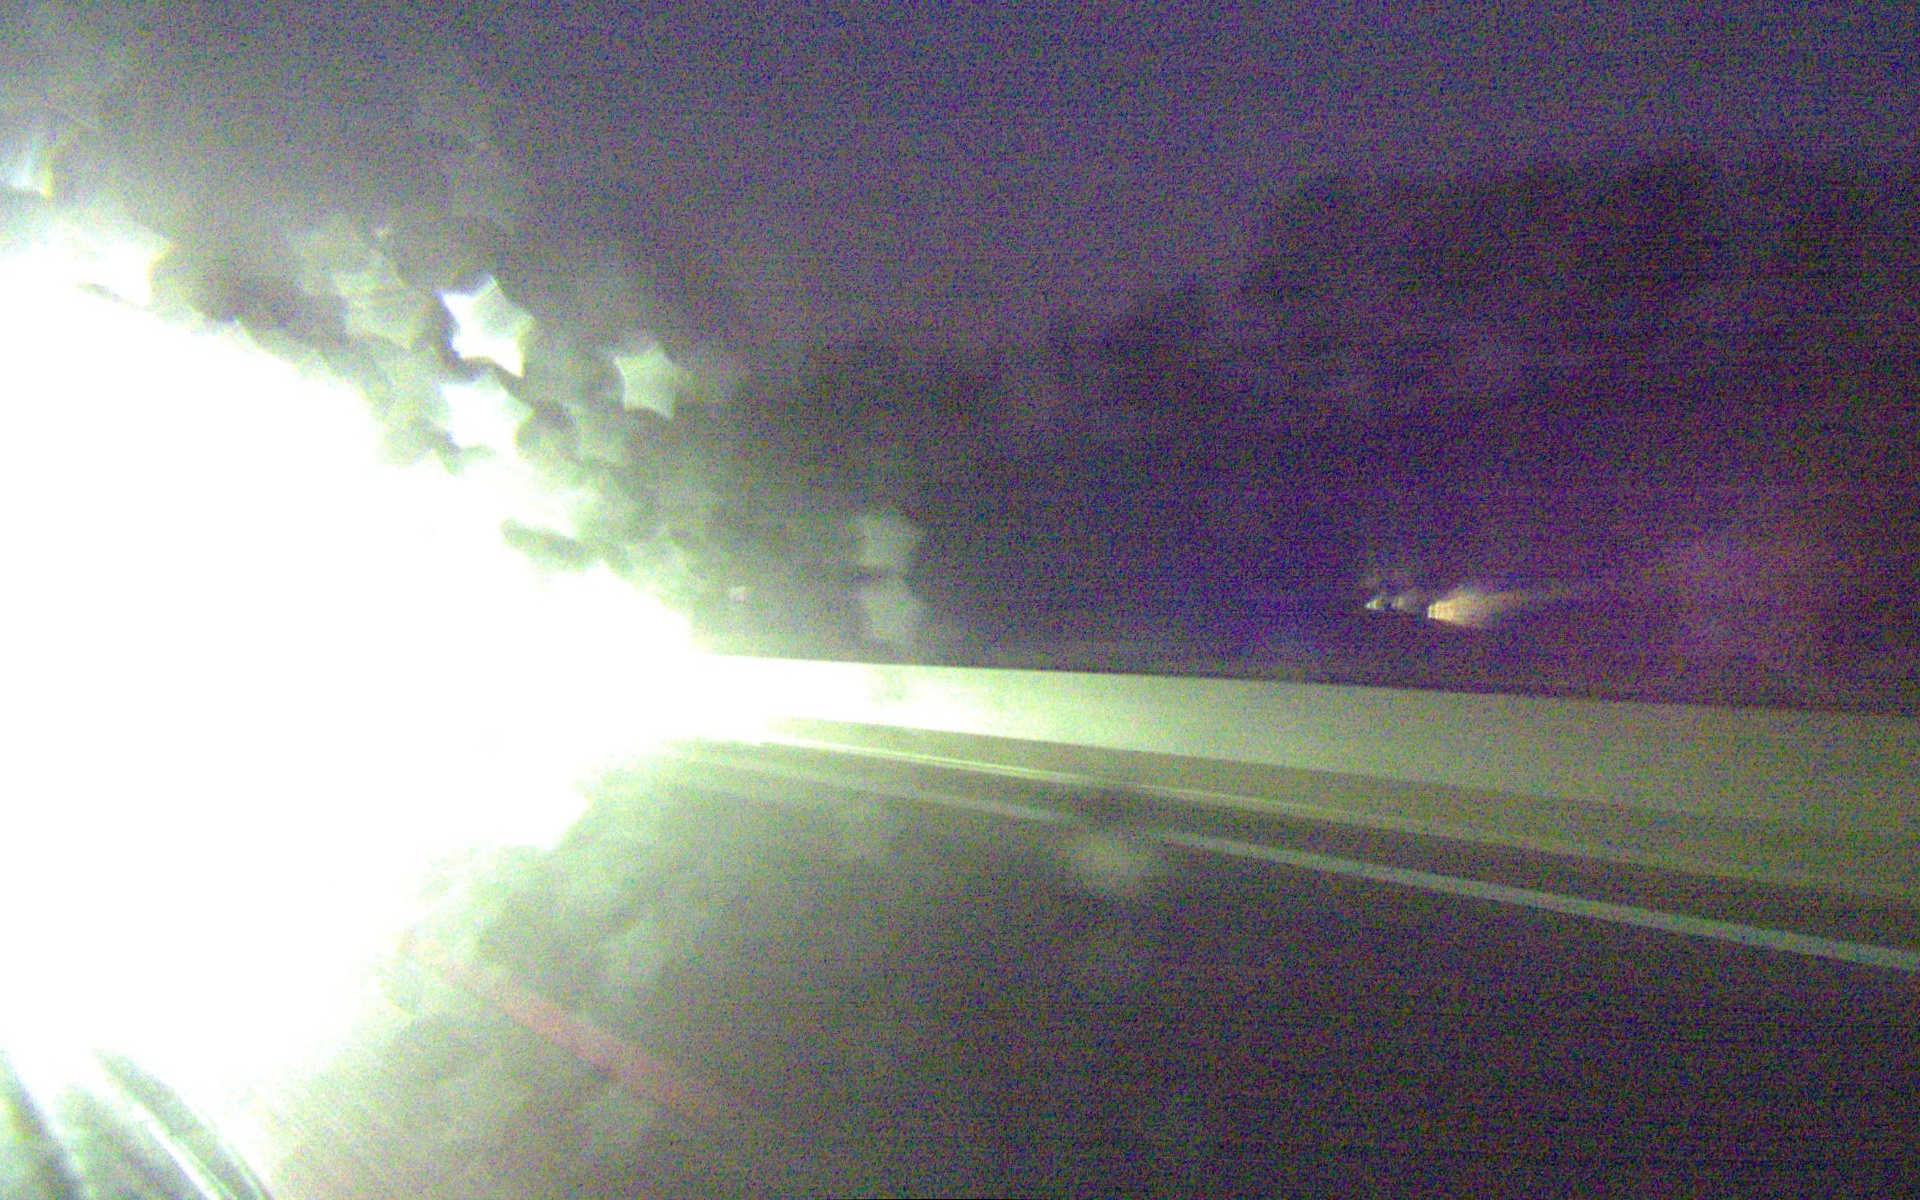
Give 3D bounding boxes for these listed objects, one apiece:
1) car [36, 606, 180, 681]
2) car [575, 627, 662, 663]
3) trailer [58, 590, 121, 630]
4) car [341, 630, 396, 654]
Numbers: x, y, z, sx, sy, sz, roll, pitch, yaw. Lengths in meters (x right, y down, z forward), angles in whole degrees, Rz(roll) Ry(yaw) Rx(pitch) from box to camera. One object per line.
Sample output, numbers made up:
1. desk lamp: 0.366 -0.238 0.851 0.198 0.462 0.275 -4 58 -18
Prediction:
1. car: -20.264 1.004 24.029 2.278 1.621 3.874 4 -3 -44
2. car: -15.446 1.992 45.676 3.998 1.497 1.973 -1 0 41
3. trailer: -107.944 1.239 125.442 13.956 4.659 4.122 0 -3 43
4. car: -40.250 2.827 68.842 4.406 1.497 1.973 -1 0 41
